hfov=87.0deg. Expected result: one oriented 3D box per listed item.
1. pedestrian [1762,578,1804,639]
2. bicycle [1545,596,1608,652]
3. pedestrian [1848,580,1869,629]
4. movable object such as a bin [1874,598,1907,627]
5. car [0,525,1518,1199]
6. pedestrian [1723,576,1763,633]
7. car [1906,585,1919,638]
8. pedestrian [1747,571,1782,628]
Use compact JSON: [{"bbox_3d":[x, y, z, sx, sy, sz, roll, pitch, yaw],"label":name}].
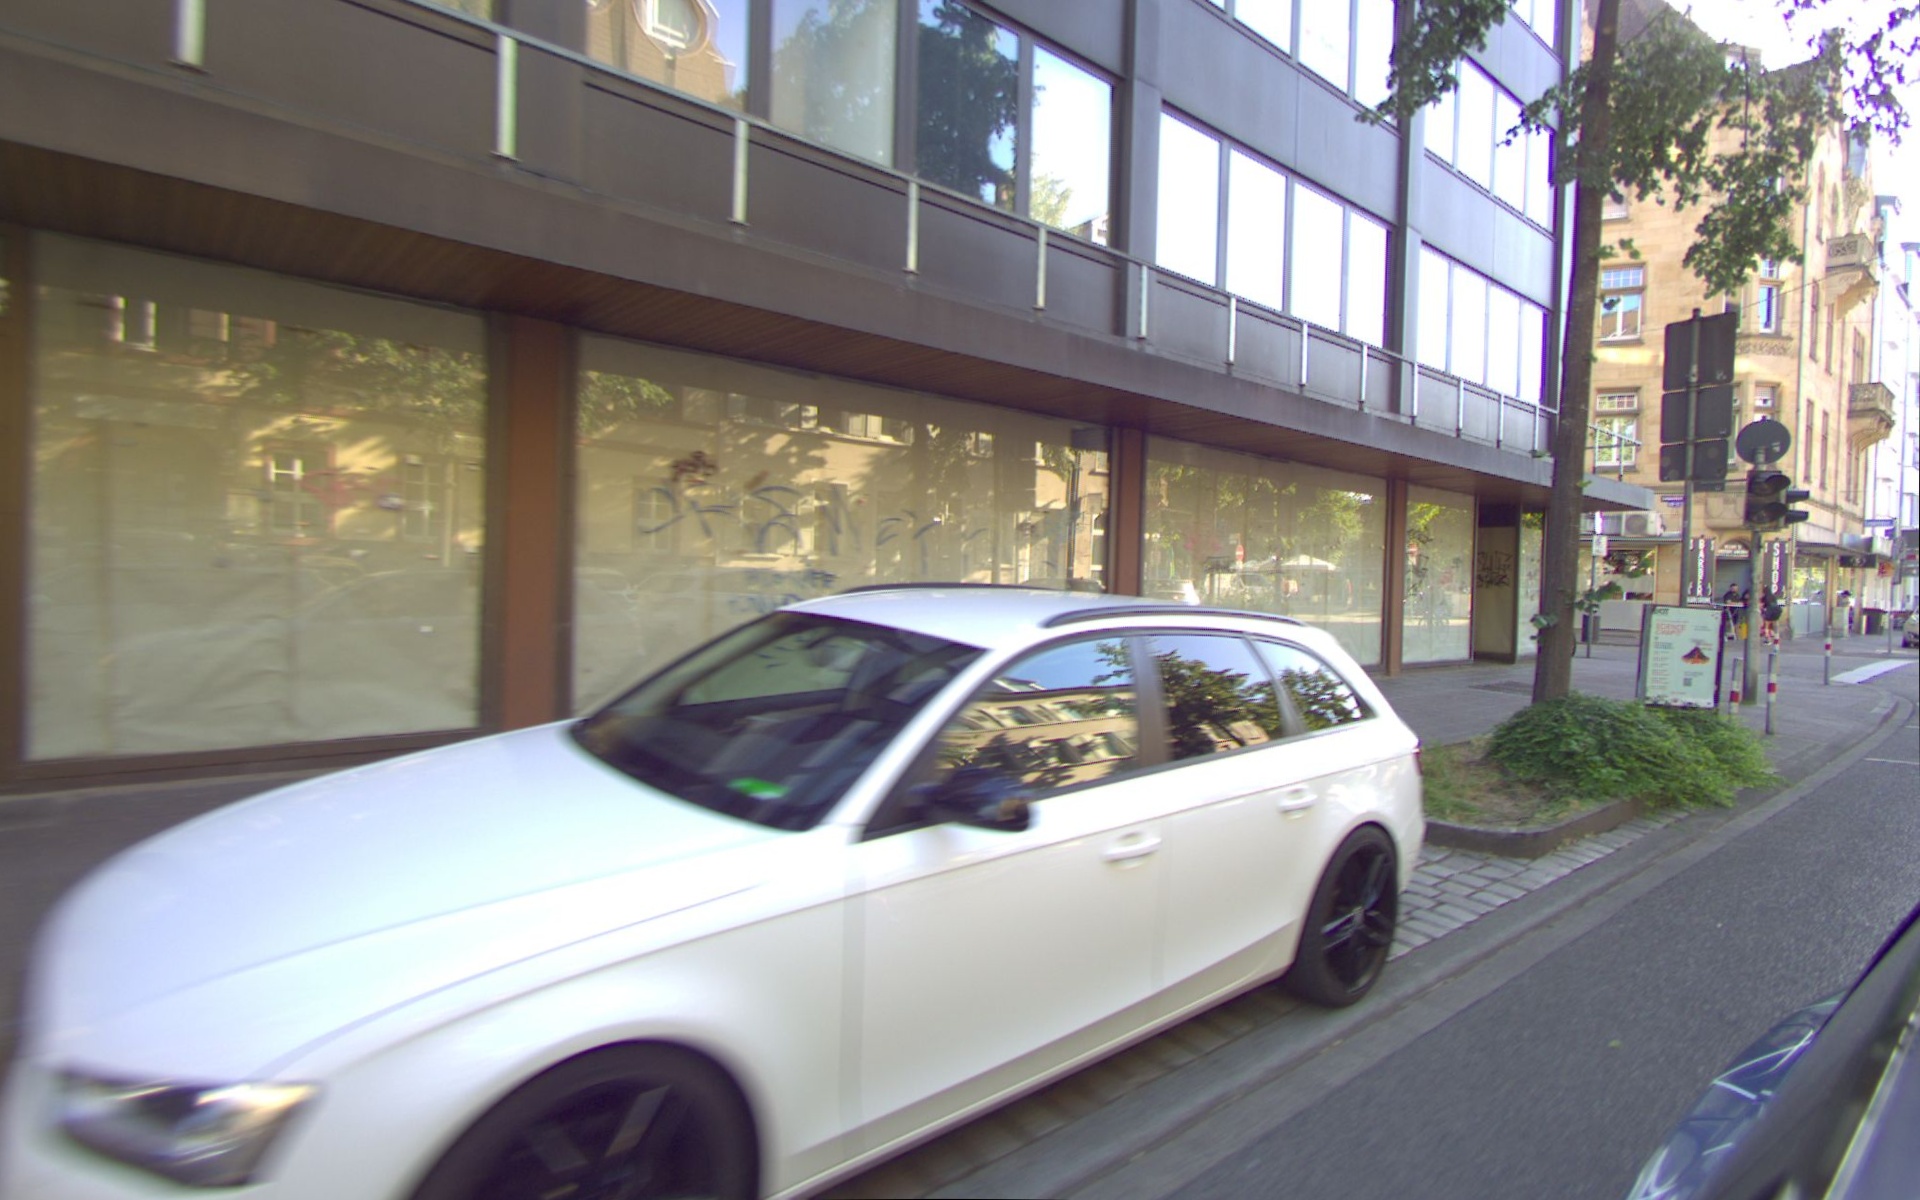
[{"bbox_3d":[23.787,0.237,29.253,0.663,1.712,0.619,0,2,4],"label":"pedestrian"},{"bbox_3d":[13.662,0.515,22.483,0.564,1.176,1.740,2,0,10],"label":"bicycle"},{"bbox_3d":[32.481,0.156,36.591,0.588,1.764,0.534,0,0,-45],"label":"pedestrian"},{"bbox_3d":[36.871,0.493,40.108,0.650,1.061,0.727,3,2,-30],"label":"movable object such as a bin"},{"bbox_3d":[-0.096,0.588,3.417,4.756,1.419,1.827,0,4,-40],"label":"car"},{"bbox_3d":[23.653,0.135,30.572,0.701,1.713,0.621,0,1,-13],"label":"pedestrian"},{"bbox_3d":[30.691,0.394,31.010,4.054,1.593,1.978,0,4,-41],"label":"car"},{"bbox_3d":[24.636,-0.016,30.983,0.701,1.713,0.500,0,1,-13],"label":"pedestrian"}]
